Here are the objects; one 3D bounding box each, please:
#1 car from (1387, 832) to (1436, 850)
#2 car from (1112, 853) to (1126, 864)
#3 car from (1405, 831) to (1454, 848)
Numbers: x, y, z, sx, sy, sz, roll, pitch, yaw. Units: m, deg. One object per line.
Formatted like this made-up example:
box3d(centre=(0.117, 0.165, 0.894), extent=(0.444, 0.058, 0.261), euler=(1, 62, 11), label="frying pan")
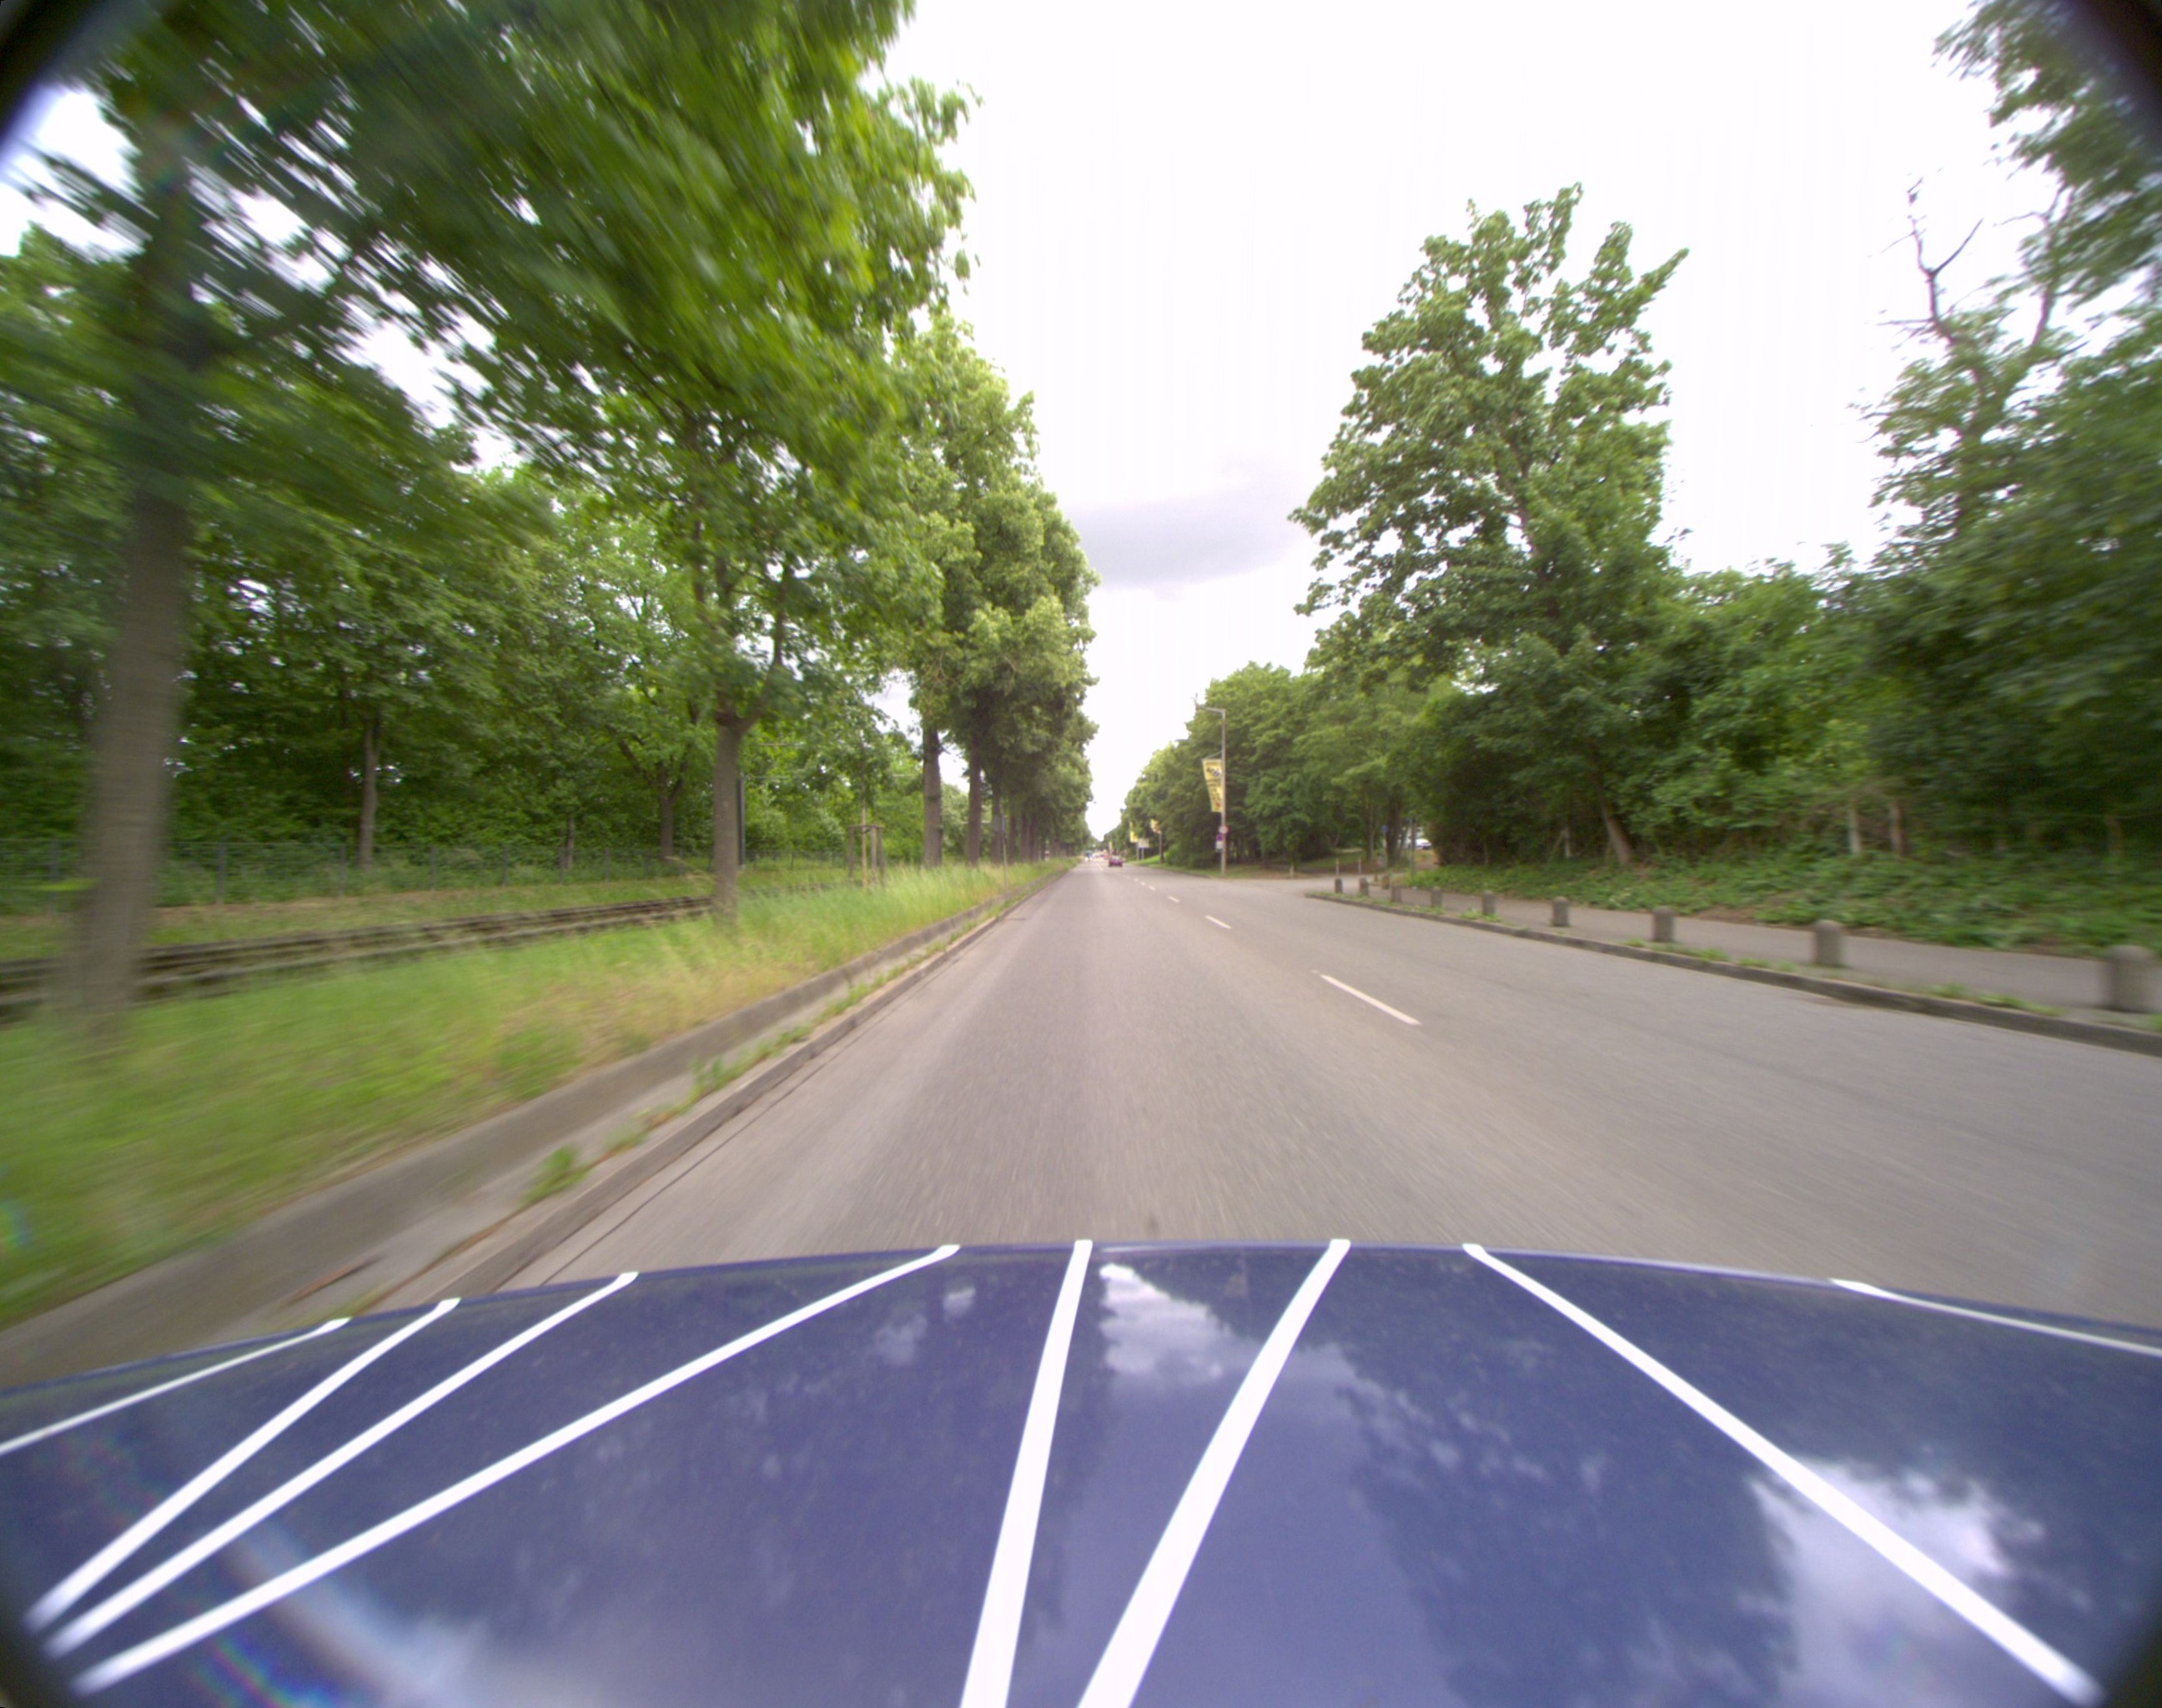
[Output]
box3d(centre=(29.775, -1.152, 68.554), extent=(1.653, 1.477, 3.992), euler=(-2, 0, -23), label="car")
box3d(centre=(5.055, 0.563, 102.552), extent=(1.720, 1.420, 4.197), euler=(1, 0, 1), label="car")
box3d(centre=(32.216, -1.333, 70.392), extent=(1.653, 1.477, 3.992), euler=(-2, 0, -23), label="car")
